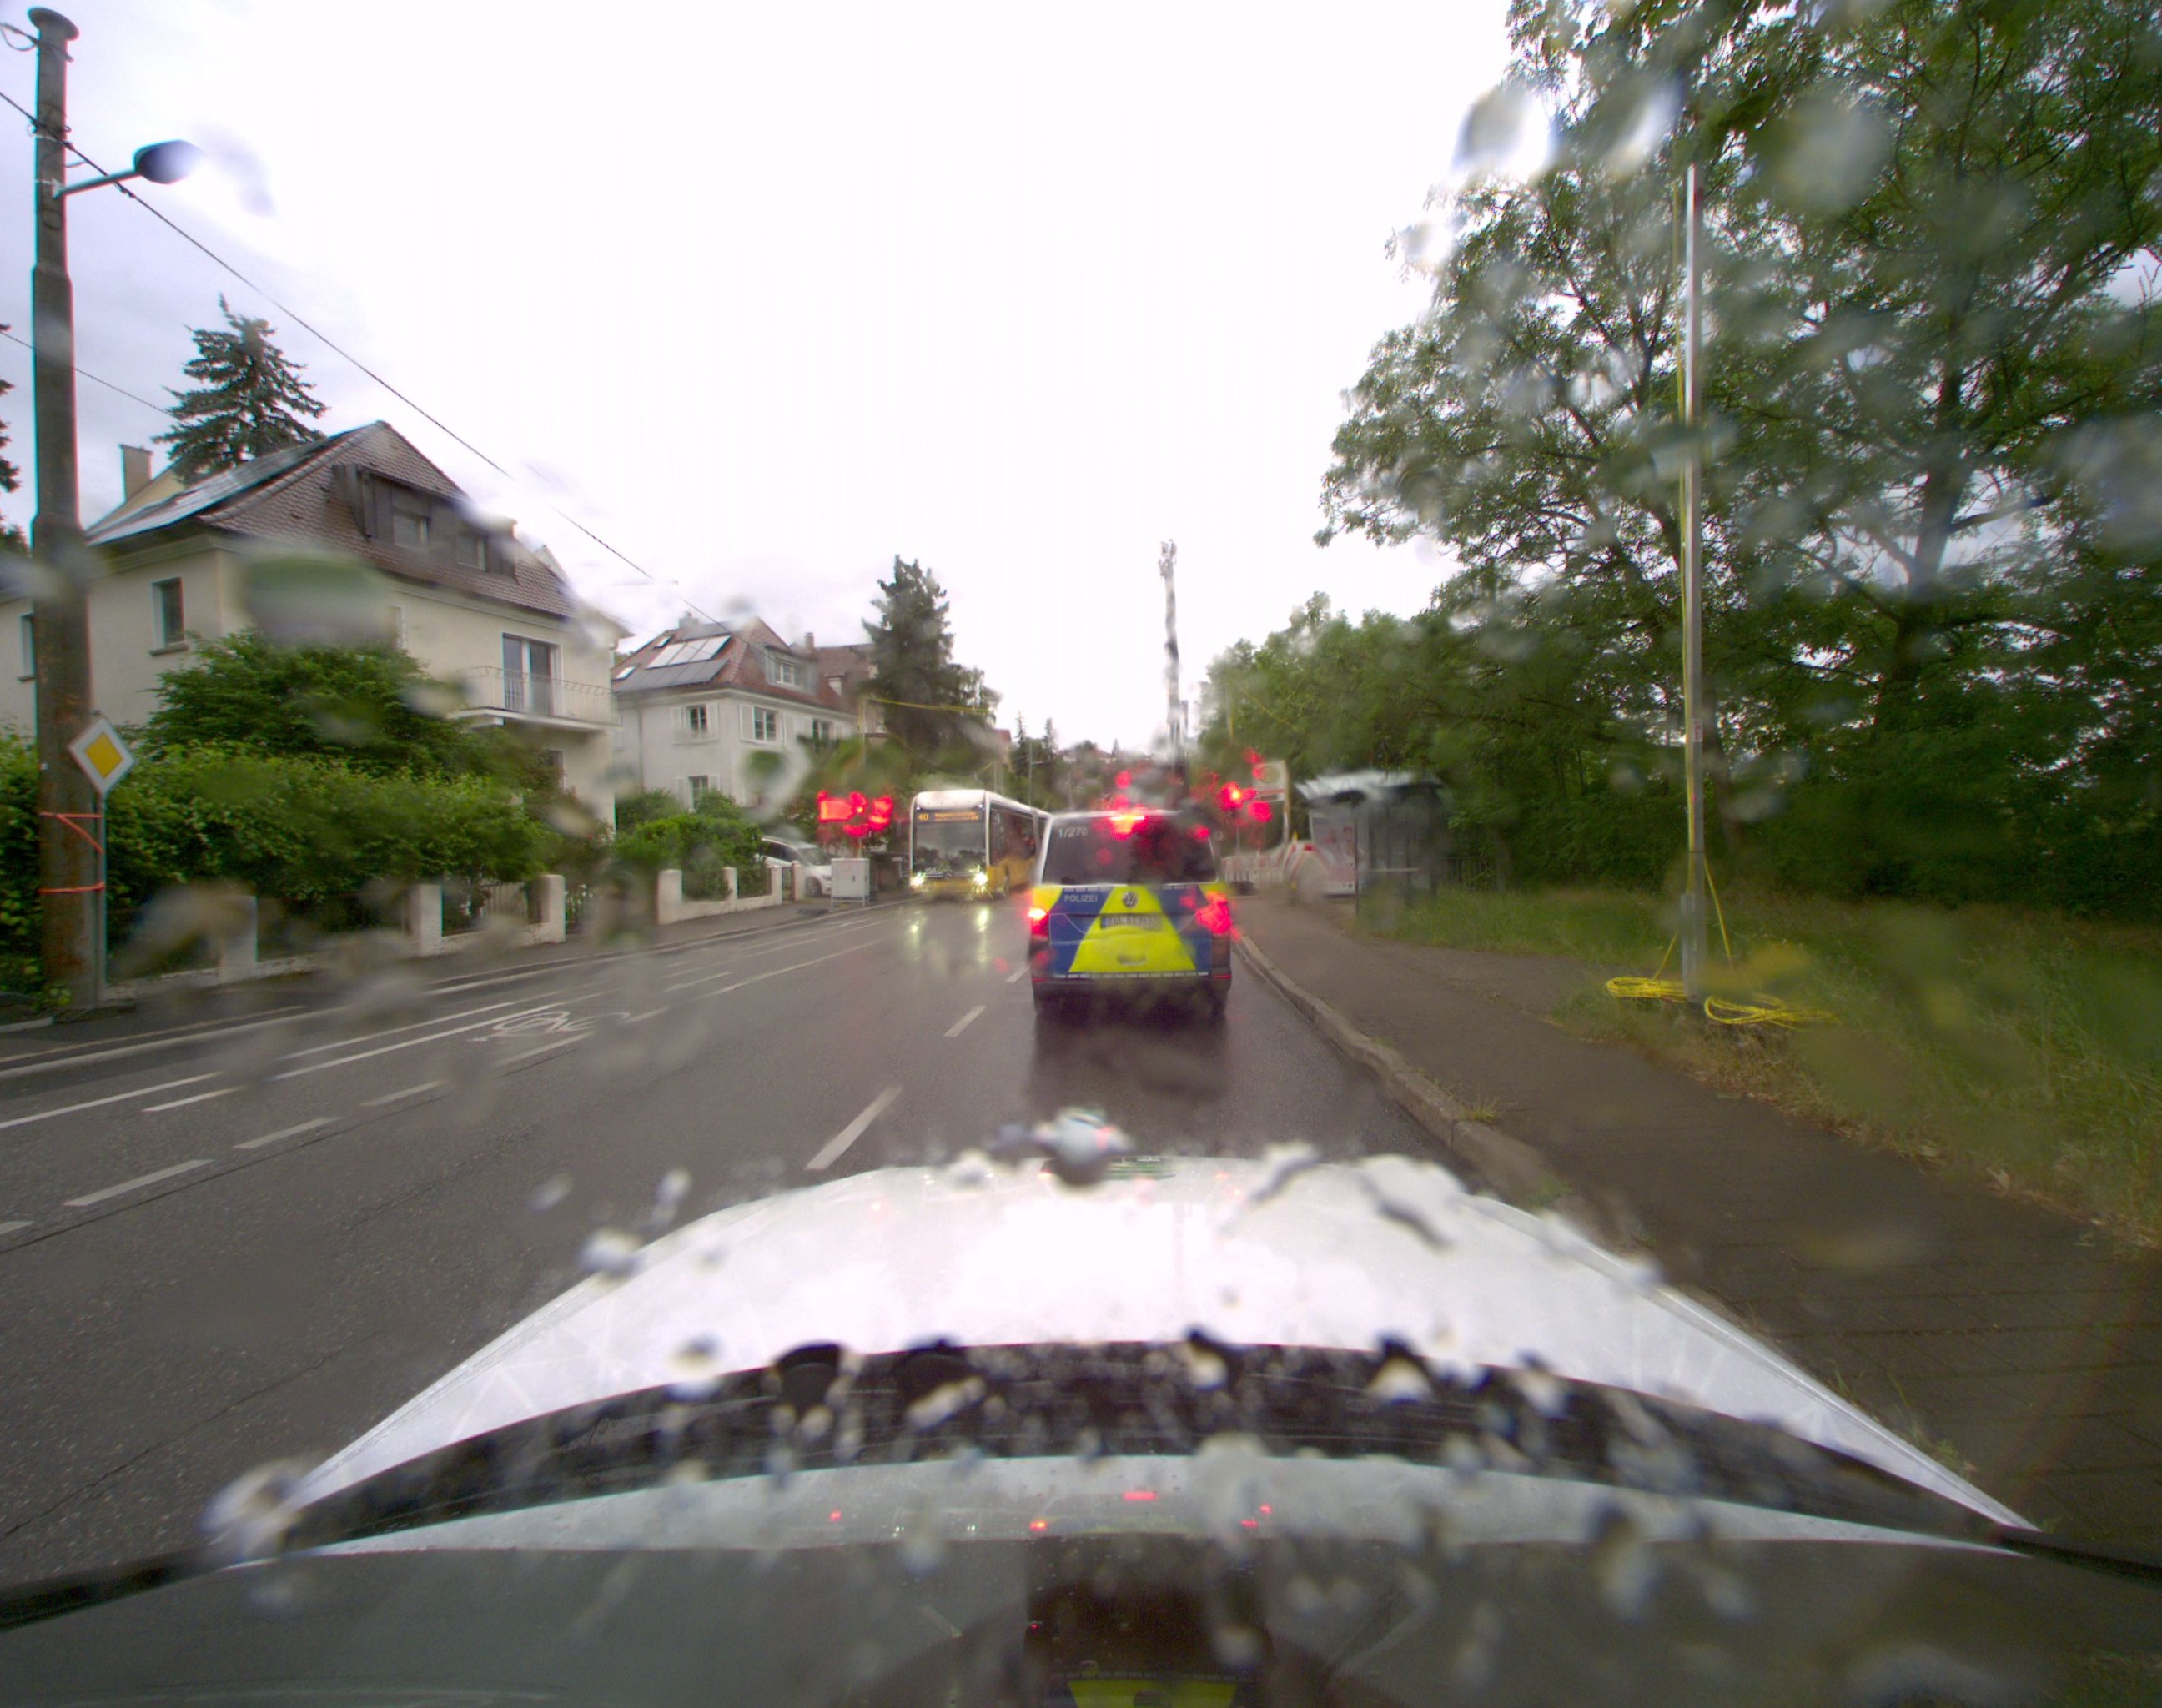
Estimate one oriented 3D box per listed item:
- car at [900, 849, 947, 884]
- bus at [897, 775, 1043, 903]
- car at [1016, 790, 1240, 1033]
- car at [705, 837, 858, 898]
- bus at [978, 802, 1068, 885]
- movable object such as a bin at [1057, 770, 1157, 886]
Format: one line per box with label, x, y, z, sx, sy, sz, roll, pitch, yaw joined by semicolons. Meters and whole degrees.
car;-7.454;0.558;38.289;1.770;1.486;3.720;0;1;-17
bus;-3.534;-0.452;29.865;2.828;3.718;12.020;0;0;4
car;0.462;0.484;8.931;1.886;2.050;4.002;0;0;2
car;-10.280;0.460;28.046;4.599;2.007;1.907;0;0;13
bus;-2.657;-0.486;41.630;2.828;3.625;12.020;0;0;4
movable object such as a bin;1.106;-0.928;31.762;2.809;4.177;4.400;0;0;17
